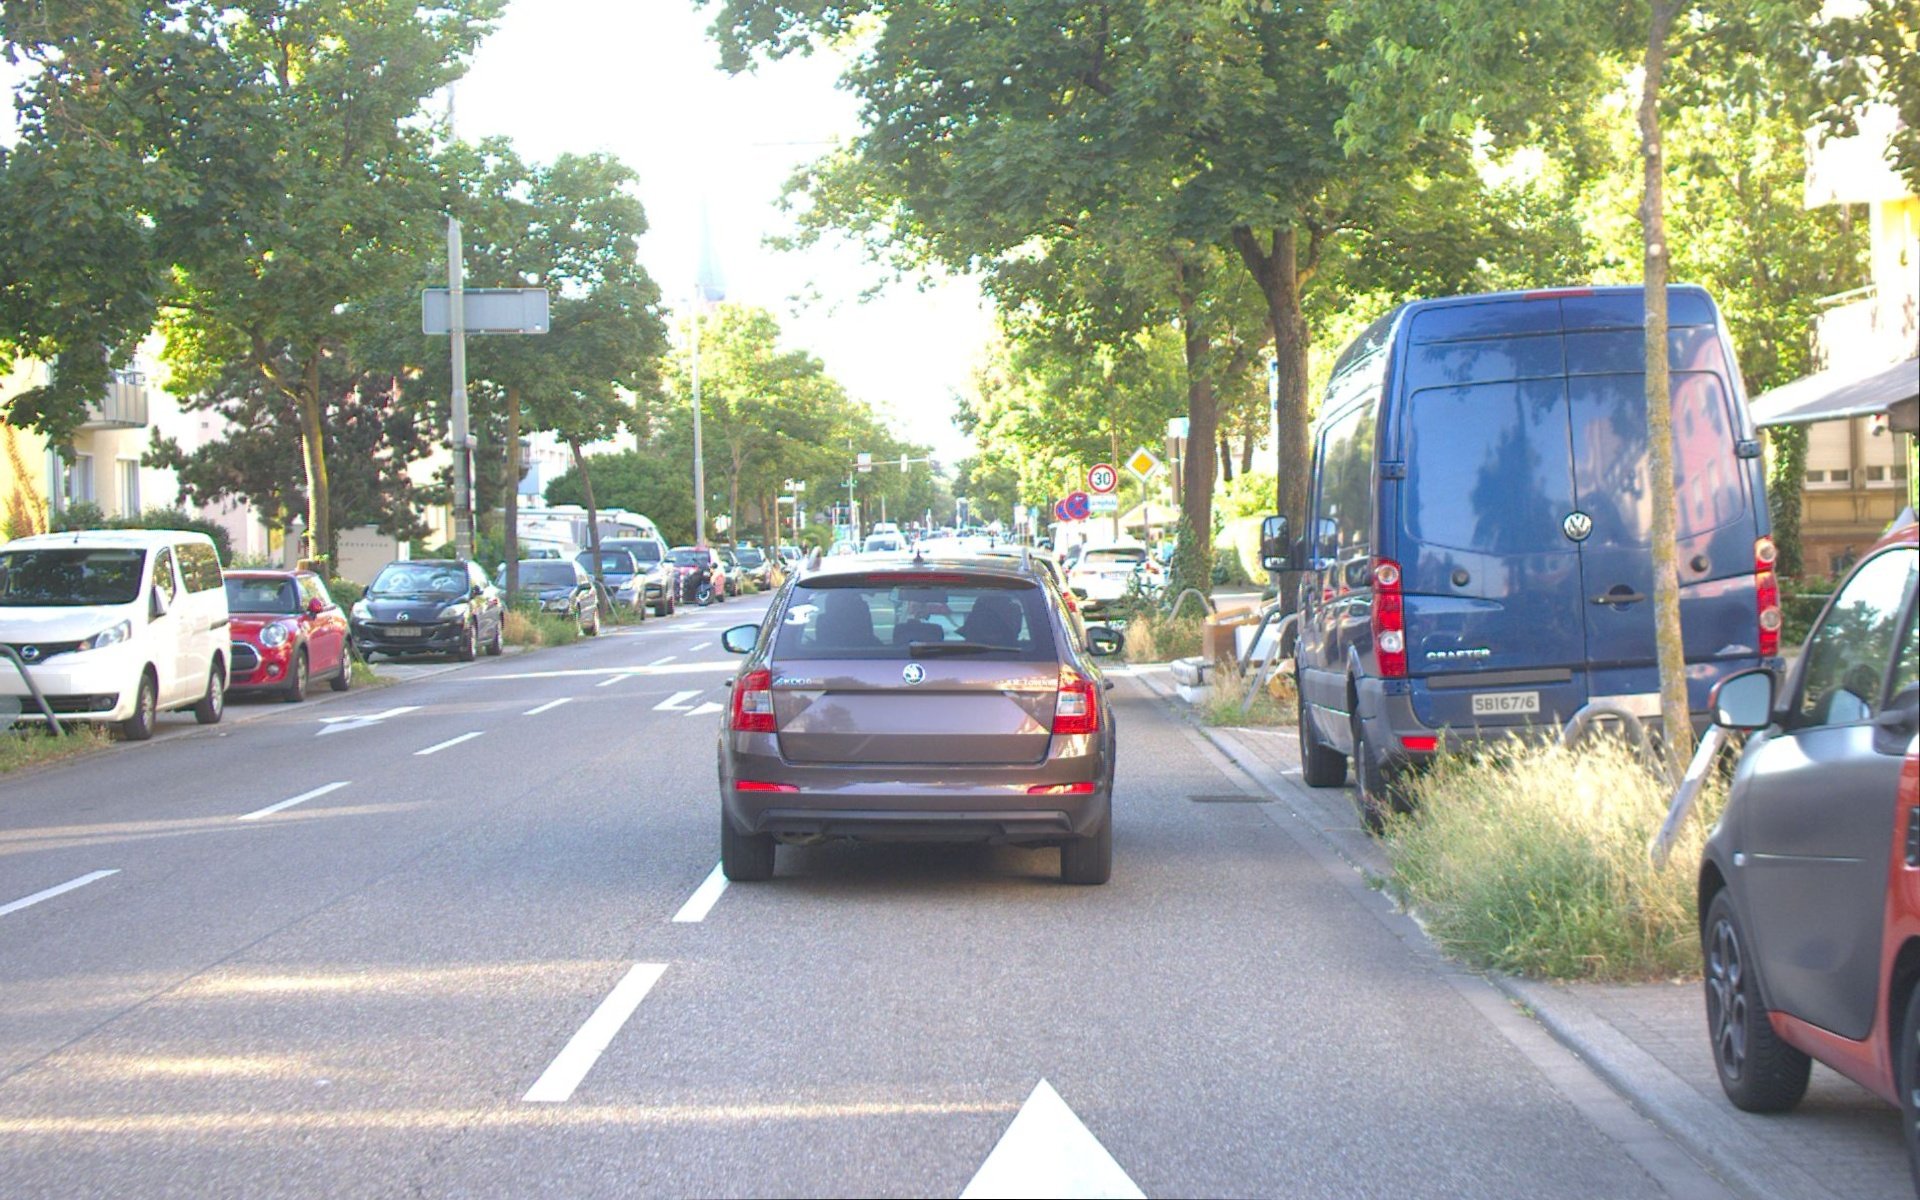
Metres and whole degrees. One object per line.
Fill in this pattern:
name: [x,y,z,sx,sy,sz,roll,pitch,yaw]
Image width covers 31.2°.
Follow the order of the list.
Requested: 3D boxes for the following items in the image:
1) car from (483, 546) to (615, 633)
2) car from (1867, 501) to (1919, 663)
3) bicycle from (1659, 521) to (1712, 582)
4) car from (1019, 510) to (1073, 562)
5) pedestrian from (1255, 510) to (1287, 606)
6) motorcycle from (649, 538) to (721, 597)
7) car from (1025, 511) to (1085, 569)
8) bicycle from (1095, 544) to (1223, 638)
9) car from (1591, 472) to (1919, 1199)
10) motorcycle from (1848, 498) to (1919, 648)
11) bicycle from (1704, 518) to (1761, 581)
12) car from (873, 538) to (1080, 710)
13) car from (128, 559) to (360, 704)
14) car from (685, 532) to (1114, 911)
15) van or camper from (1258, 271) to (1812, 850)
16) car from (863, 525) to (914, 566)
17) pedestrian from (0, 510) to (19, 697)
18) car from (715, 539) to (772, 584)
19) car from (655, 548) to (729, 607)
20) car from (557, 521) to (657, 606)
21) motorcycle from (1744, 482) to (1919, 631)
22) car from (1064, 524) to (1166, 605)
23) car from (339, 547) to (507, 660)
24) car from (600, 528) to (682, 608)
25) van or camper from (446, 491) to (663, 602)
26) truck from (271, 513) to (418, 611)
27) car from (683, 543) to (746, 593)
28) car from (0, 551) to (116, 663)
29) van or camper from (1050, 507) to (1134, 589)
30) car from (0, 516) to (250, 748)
car: [-7.418,-0.221,62.424,1.754,1.415,4.425,-1,2,1]
car: [10.667,-0.219,31.857,3.986,1.457,1.825,-1,2,-3]
bicycle: [11.448,-0.770,54.282,0.342,0.947,1.582,1,1,-5]
car: [3.092,-2.336,124.430,1.729,1.809,3.951,-1,2,-1]
pedestrian: [5.884,-0.798,65.104,0.535,1.788,0.687,-1,1,2]
motorcycle: [-7.190,-0.839,89.773,0.764,1.506,2.029,-3,2,-42]
car: [3.066,-1.976,111.941,1.729,1.809,3.951,-1,2,-1]
bicycle: [2.835,-0.127,49.002,1.671,1.222,0.635,-3,1,13]
car: [2.807,0.524,8.284,1.772,1.636,3.757,-1,1,-1]
motorcycle: [10.918,-0.319,37.638,2.195,1.615,0.889,-1,1,7]
bicycle: [12.054,-0.785,53.680,0.342,0.947,1.582,-4,1,-5]
car: [0.101,0.181,33.264,1.729,1.488,3.951,-1,2,-3]
car: [-7.858,0.310,38.045,1.717,1.416,3.787,-1,2,1]
car: [-0.195,0.462,16.086,1.729,1.488,3.951,-1,2,2]
van or camper: [2.953,-0.219,19.094,2.068,2.666,5.990,-1,1,1]
car: [-3.216,-2.485,156.077,1.877,1.751,4.178,-1,2,4]
pedestrian: [-10.587,0.037,37.127,0.626,2.006,0.616,-1,1,0]
car: [-7.334,-1.304,116.560,1.664,1.427,3.275,-1,2,0]
car: [-7.355,-0.643,94.795,1.664,1.506,4.179,-1,2,0]
car: [-7.663,-0.814,74.824,1.750,1.734,3.591,-1,2,0]
motorcycle: [9.961,-0.496,38.565,2.195,1.615,0.731,-1,1,7]
car: [2.903,-0.684,64.635,1.821,1.408,4.111,-1,2,2]
car: [-7.779,0.019,50.131,1.717,1.492,4.248,-1,2,0]
car: [-7.359,-0.760,79.490,1.507,1.751,3.694,-1,2,0]
van or camper: [-14.839,-1.963,126.113,7.640,3.861,2.000,-1,1,-1]
truck: [-13.633,-0.862,76.251,2.913,2.086,1.546,-1,2,0]
car: [-7.482,-0.994,105.027,1.664,1.427,3.275,-1,2,0]
car: [-13.824,0.090,47.282,3.986,1.474,2.000,0,2,-3]
van or camper: [3.386,-1.364,88.643,1.993,2.006,4.000,-1,2,0]
car: [-7.841,0.222,31.244,1.770,1.912,4.460,-1,2,0]
